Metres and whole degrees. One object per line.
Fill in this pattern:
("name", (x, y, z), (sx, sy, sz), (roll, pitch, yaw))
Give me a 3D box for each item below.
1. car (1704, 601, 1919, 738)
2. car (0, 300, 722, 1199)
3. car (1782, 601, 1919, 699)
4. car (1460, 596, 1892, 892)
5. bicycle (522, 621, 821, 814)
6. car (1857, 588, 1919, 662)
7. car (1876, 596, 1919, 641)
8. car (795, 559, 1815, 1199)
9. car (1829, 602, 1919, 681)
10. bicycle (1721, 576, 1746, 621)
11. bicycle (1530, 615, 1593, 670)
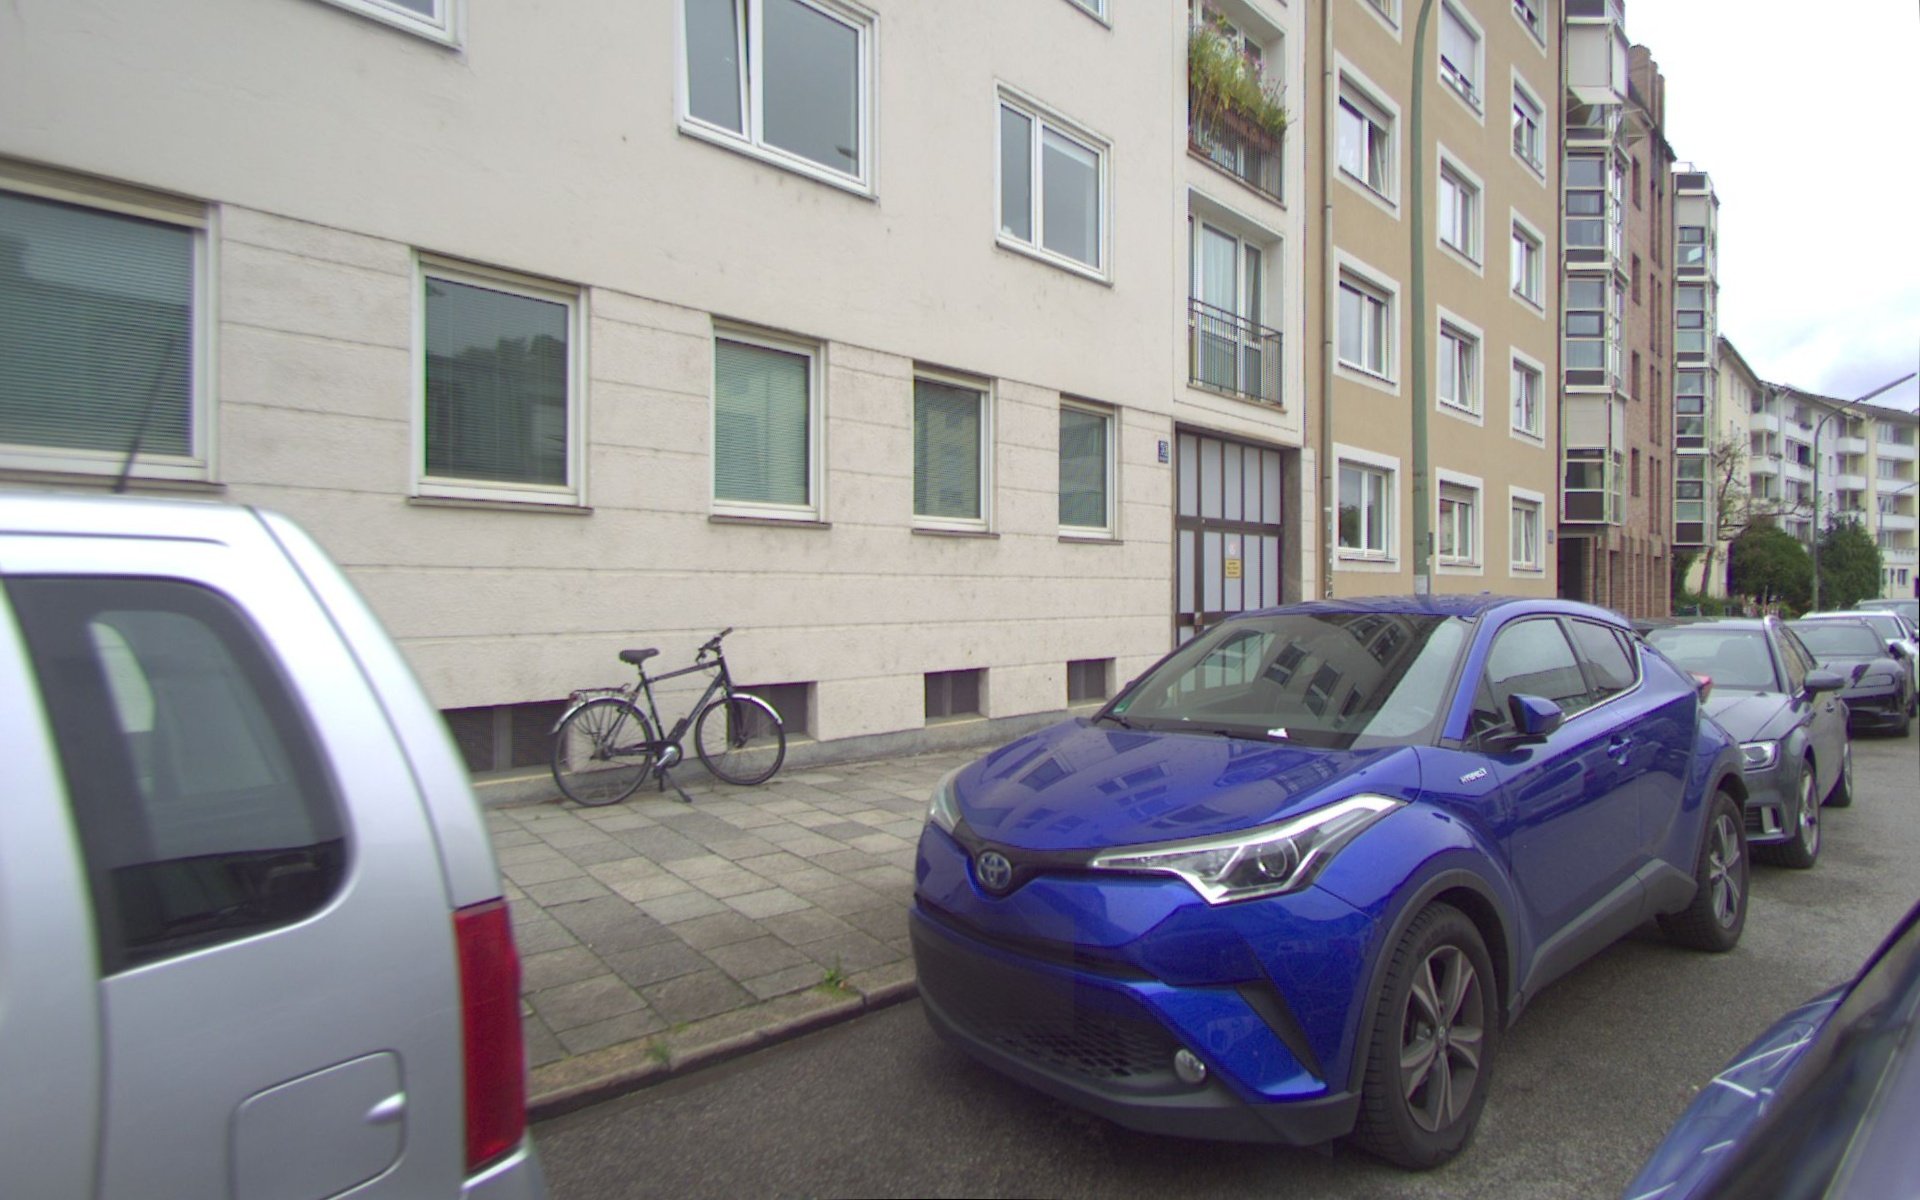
("car", (11.528, 0.753, 13.370), (5.029, 1.432, 1.956), (-1, 0, -44))
("car", (-2.255, 0.587, 0.756), (1.681, 1.695, 3.743), (-2, -1, 45))
("car", (15.354, 0.731, 17.056), (1.854, 1.432, 4.933), (0, 0, 45))
("car", (5.276, 0.749, 7.198), (4.329, 1.473, 1.706), (0, -3, -44))
("bicycle", (-1.868, 0.707, 6.848), (0.529, 1.085, 1.970), (0, 0, 42))
("car", (22.926, 0.548, 24.417), (1.876, 1.666, 4.575), (0, 0, 41))
("car", (33.501, 0.602, 35.214), (4.258, 1.455, 1.879), (0, -2, -41))
("car", (1.730, 0.665, 4.096), (4.464, 1.513, 1.747), (0, 0, -38))
("car", (19.168, 0.796, 20.788), (1.756, 1.383, 4.707), (-6, -3, 42))
("bicycle", (35.757, -0.066, 46.783), (1.961, 2.039, 0.652), (0, 0, -45))
("bicycle", (12.313, 0.847, 20.705), (1.723, 1.046, 0.676), (0, 1, -44))
